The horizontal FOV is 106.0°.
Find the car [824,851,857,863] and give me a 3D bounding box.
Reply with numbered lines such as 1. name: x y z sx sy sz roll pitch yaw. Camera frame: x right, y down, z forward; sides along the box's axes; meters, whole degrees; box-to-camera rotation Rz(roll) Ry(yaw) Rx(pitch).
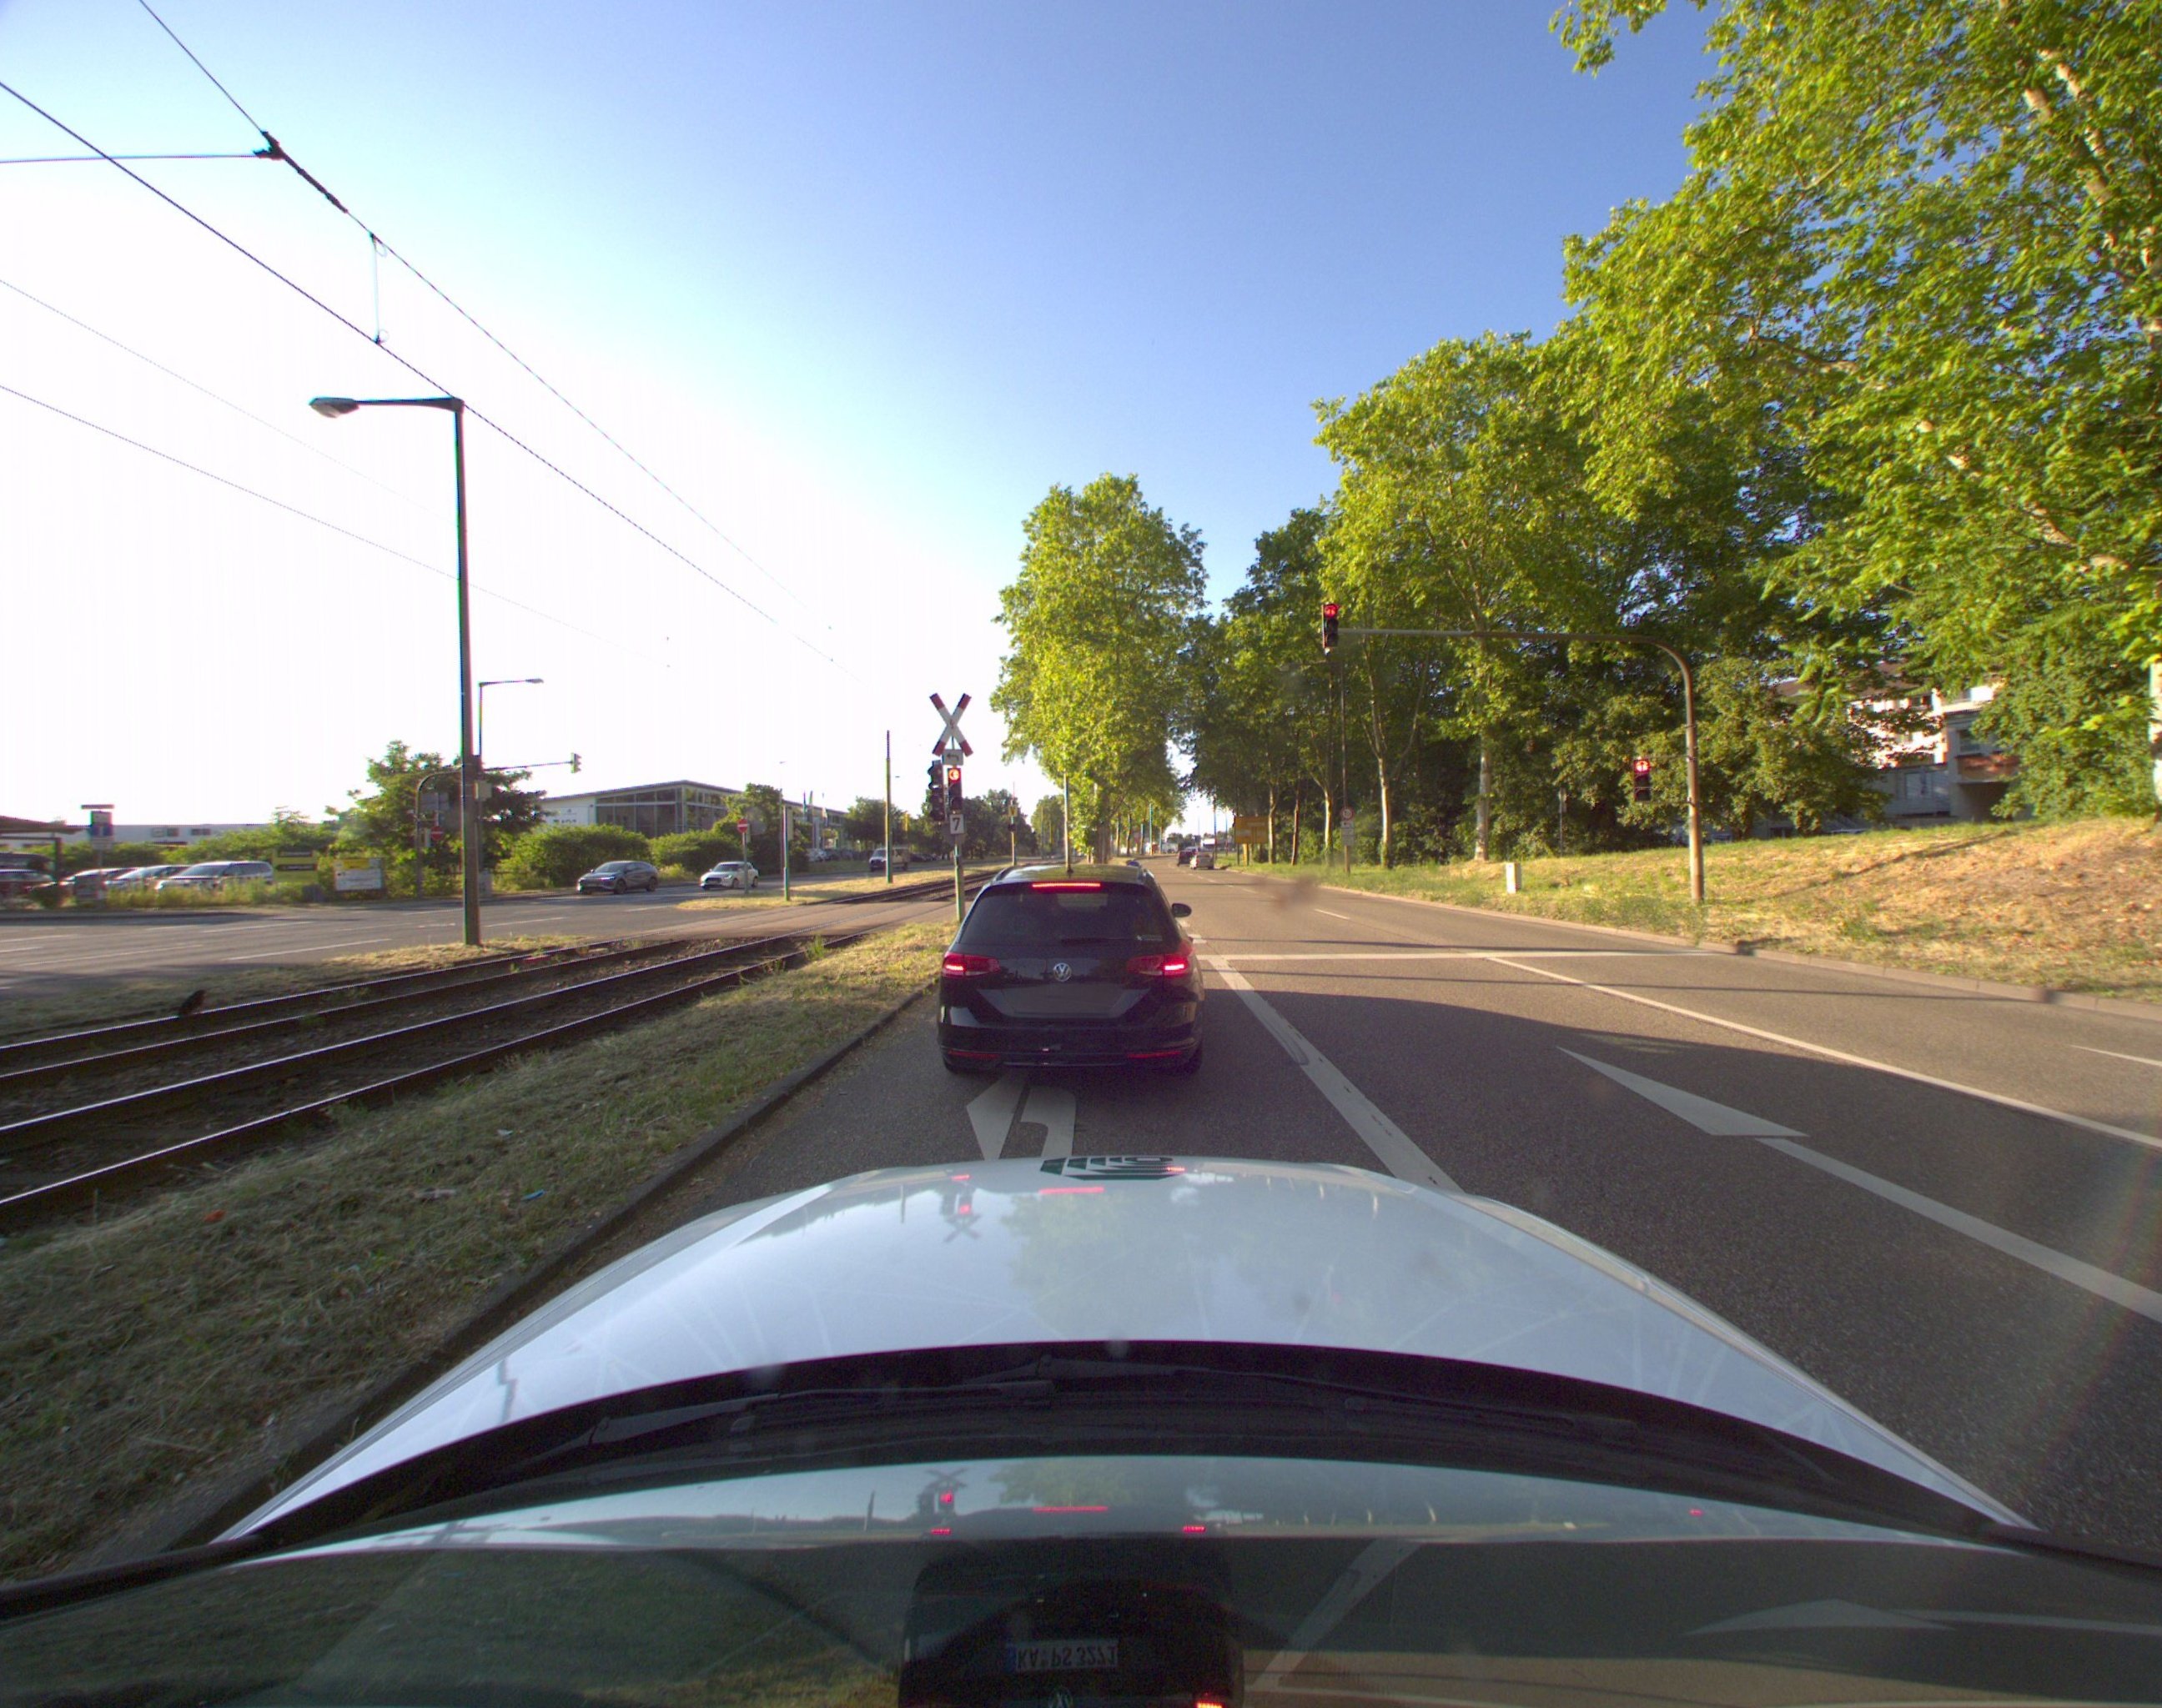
1. car: -31.368 0.354 106.219 3.999 1.556 1.732 -1 0 -19

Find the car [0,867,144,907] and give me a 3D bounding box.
1. car: -44.713 1.409 35.903 1.855 1.583 4.174 0 0 2

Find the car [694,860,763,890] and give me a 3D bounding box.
1. car: -19.493 1.137 45.210 1.854 1.481 4.095 0 0 3

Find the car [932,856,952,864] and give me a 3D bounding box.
1. car: -28.814 1.196 168.931 3.977 1.556 1.742 -1 0 -2

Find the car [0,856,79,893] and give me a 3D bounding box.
1. car: -60.424 1.160 45.915 1.855 2.014 4.773 0 0 2

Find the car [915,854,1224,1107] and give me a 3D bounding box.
1. car: -0.021 0.737 6.534 1.788 1.464 3.584 0 0 1

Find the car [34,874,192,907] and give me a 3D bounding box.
1. car: -42.473 1.568 35.899 1.855 1.267 4.174 0 0 2

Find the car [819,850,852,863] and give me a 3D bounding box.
1. car: -31.154 0.310 103.428 3.999 1.556 1.732 -1 0 -19

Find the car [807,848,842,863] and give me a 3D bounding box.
1. car: -31.648 0.139 100.529 3.999 1.816 1.732 -1 0 -19

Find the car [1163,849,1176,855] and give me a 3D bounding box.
1. car: 19.904 -0.482 183.051 1.976 1.420 4.022 -1 0 23

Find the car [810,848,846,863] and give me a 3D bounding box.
1. car: -29.953 0.172 96.394 3.999 1.704 1.732 -1 0 -19

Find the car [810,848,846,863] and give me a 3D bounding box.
1. car: -29.264 0.154 94.125 3.999 1.704 1.732 -1 0 -19

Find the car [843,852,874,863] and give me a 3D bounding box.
1. car: -31.440 0.485 115.324 3.983 1.556 1.739 -1 0 -7

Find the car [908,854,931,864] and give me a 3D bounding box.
1. car: -29.107 0.878 146.850 3.978 1.621 1.742 -1 0 -3

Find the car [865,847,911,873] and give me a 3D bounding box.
1. car: -19.624 0.574 83.042 2.080 2.461 5.874 0 0 13

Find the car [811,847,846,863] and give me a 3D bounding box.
1. car: -30.605 0.137 98.748 3.999 1.816 1.732 -1 0 -19

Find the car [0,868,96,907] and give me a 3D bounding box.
1. car: -47.162 1.458 36.055 1.970 1.583 4.174 0 0 2

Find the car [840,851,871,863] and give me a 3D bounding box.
1. car: -31.231 0.447 112.617 3.999 1.556 1.732 -1 0 -19

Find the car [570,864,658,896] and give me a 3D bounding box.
1. car: -23.740 1.278 41.590 1.854 1.481 4.176 0 0 3

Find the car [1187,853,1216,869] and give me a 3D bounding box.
1. car: 10.016 0.600 68.156 1.606 1.294 3.977 0 0 -4

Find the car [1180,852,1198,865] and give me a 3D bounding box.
1. car: 15.352 0.625 115.445 1.858 1.635 4.388 2 0 15

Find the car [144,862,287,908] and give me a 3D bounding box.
1. car: -38.526 1.327 36.421 1.855 1.821 4.174 0 0 2

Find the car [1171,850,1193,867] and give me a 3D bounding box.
1. car: 10.115 0.432 81.531 1.701 1.561 4.167 -1 0 1
